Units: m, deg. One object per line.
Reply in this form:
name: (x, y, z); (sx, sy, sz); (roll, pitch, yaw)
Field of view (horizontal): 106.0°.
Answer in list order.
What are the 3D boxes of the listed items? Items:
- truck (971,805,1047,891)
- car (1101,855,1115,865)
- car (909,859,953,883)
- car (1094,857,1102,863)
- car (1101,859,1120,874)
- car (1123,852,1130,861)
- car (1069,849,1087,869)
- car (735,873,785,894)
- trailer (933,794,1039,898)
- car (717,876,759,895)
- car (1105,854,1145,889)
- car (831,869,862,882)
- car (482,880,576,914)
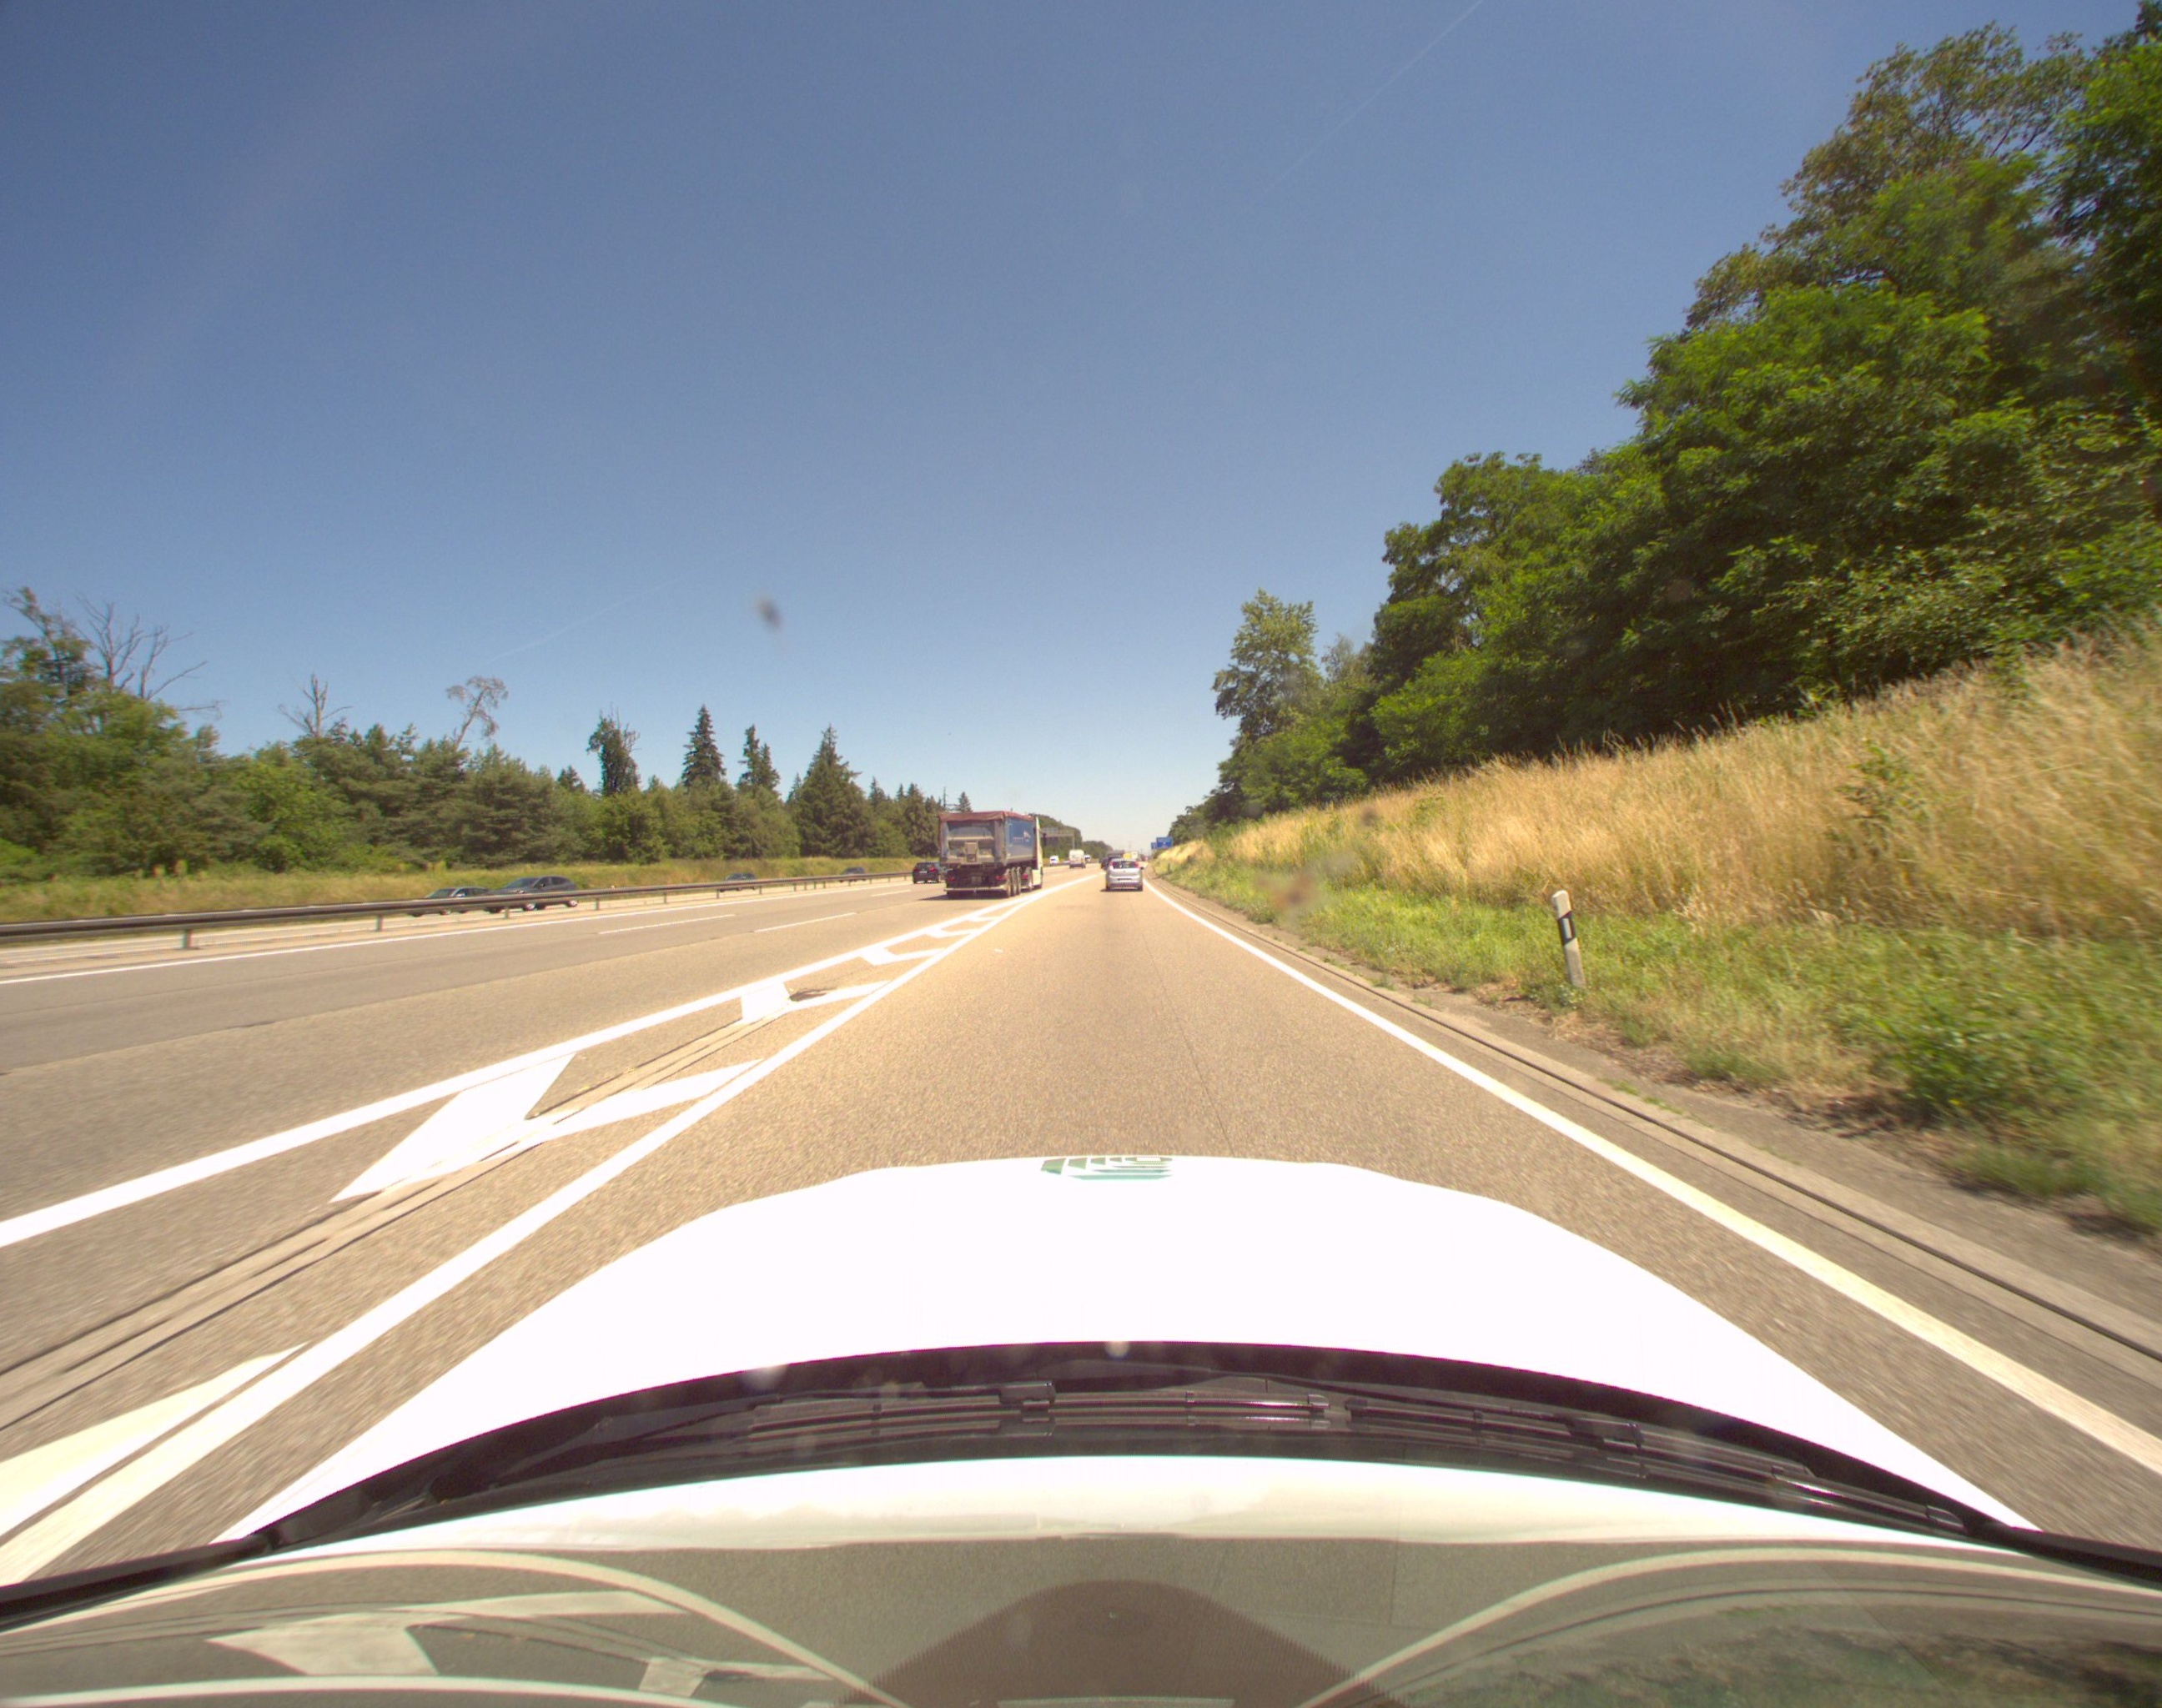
truck: (-3.354, -0.259, 39.502); (2.672, 3.758, 5.950); (-2, 0, 4)
car: (3.806, 0.856, 115.753); (1.886, 1.469, 4.264); (-1, 0, 3)
car: (-10.097, 1.102, 55.154); (1.695, 1.474, 4.603); (-2, 0, 5)
car: (5.121, 1.835, 243.022); (2.148, 1.814, 4.863); (-1, 0, 3)
car: (3.343, 1.412, 91.630); (1.822, 1.672, 4.008); (-1, -1, 7)
car: (10.031, 0.624, 178.948); (1.604, 2.014, 4.004); (-1, -1, 4)
car: (-0.462, 0.741, 122.514); (2.250, 2.951, 6.120); (-1, -1, 4)
car: (-21.507, 1.972, 54.701); (1.613, 1.260, 3.572); (-2, -1, 5)
trailer: (-3.735, -0.275, 34.506); (2.725, 3.758, 9.118); (-2, 0, 4)
car: (-29.379, 2.711, 69.913); (1.550, 1.527, 4.007); (-1, -1, 7)
car: (2.028, 0.766, 37.280); (1.712, 1.491, 3.740); (-1, 0, 3)
car: (-26.663, 2.451, 92.808); (1.780, 1.420, 4.443); (-1, -1, 6)
car: (-24.764, 1.901, 36.669); (1.555, 1.356, 3.572); (-2, -1, 5)
